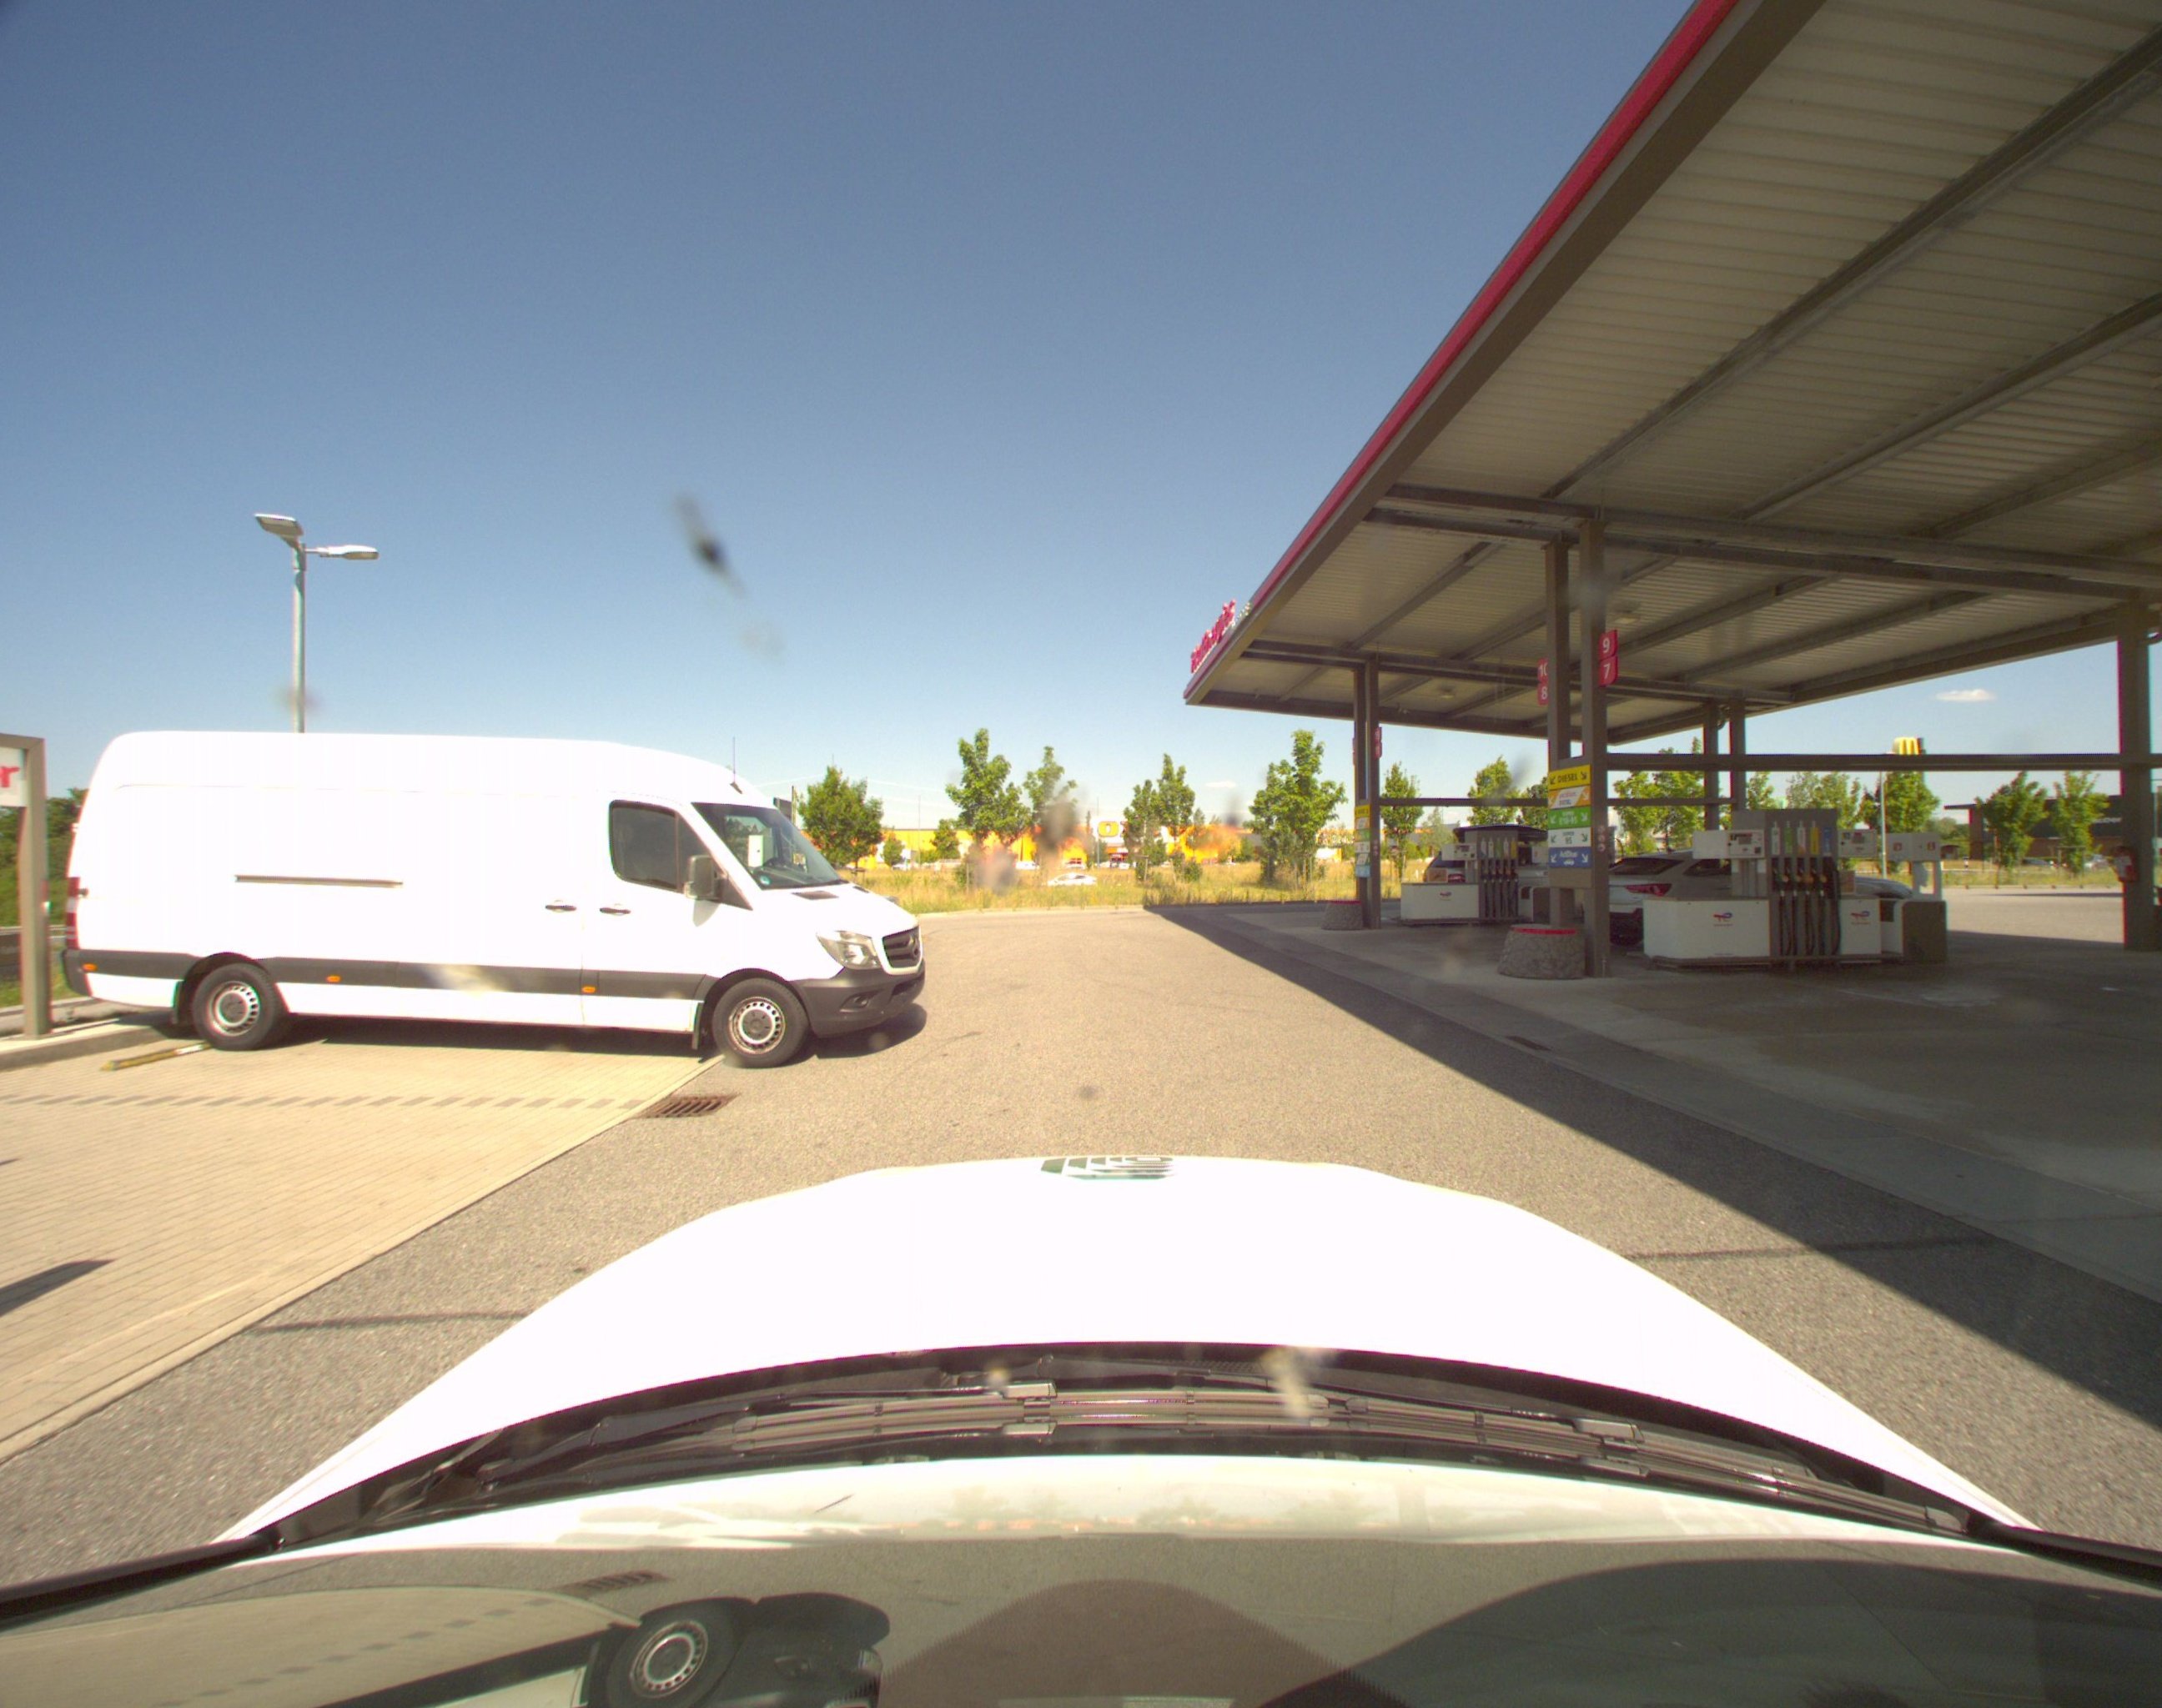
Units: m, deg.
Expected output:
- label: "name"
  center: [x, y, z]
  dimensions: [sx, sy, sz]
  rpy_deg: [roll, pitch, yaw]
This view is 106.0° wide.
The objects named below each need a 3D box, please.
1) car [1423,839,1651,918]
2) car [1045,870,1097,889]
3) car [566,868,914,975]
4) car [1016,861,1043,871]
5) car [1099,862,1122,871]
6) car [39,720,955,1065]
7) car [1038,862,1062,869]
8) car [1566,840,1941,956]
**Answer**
- label: "car"
  center: [10.795, 0.547, 19.454]
  dimensions: [4.515, 1.687, 1.861]
  rpy_deg: [-1, -1, -6]
- label: "car"
  center: [-0.732, 1.859, 59.538]
  dimensions: [3.719, 1.299, 1.486]
  rpy_deg: [-1, -1, -1]
- label: "car"
  center: [-4.787, 0.922, 11.924]
  dimensions: [4.295, 1.428, 1.792]
  rpy_deg: [0, -1, -2]
- label: "car"
  center: [-8.548, 1.985, 135.336]
  dimensions: [4.357, 1.548, 1.793]
  rpy_deg: [-1, -1, -1]
- label: "car"
  center: [5.360, 2.322, 148.899]
  dimensions: [4.143, 1.470, 1.671]
  rpy_deg: [-1, -1, -1]
- label: "car"
  center: [-4.842, 0.261, 7.375]
  dimensions: [6.976, 2.571, 2.002]
  rpy_deg: [1, -1, 4]
- label: "car"
  center: [-5.206, 1.908, 137.896]
  dimensions: [3.942, 1.113, 1.697]
  rpy_deg: [-1, -1, -1]
- label: "car"
  center: [10.076, 0.628, 12.427]
  dimensions: [4.300, 1.541, 1.785]
  rpy_deg: [-1, -1, -2]
